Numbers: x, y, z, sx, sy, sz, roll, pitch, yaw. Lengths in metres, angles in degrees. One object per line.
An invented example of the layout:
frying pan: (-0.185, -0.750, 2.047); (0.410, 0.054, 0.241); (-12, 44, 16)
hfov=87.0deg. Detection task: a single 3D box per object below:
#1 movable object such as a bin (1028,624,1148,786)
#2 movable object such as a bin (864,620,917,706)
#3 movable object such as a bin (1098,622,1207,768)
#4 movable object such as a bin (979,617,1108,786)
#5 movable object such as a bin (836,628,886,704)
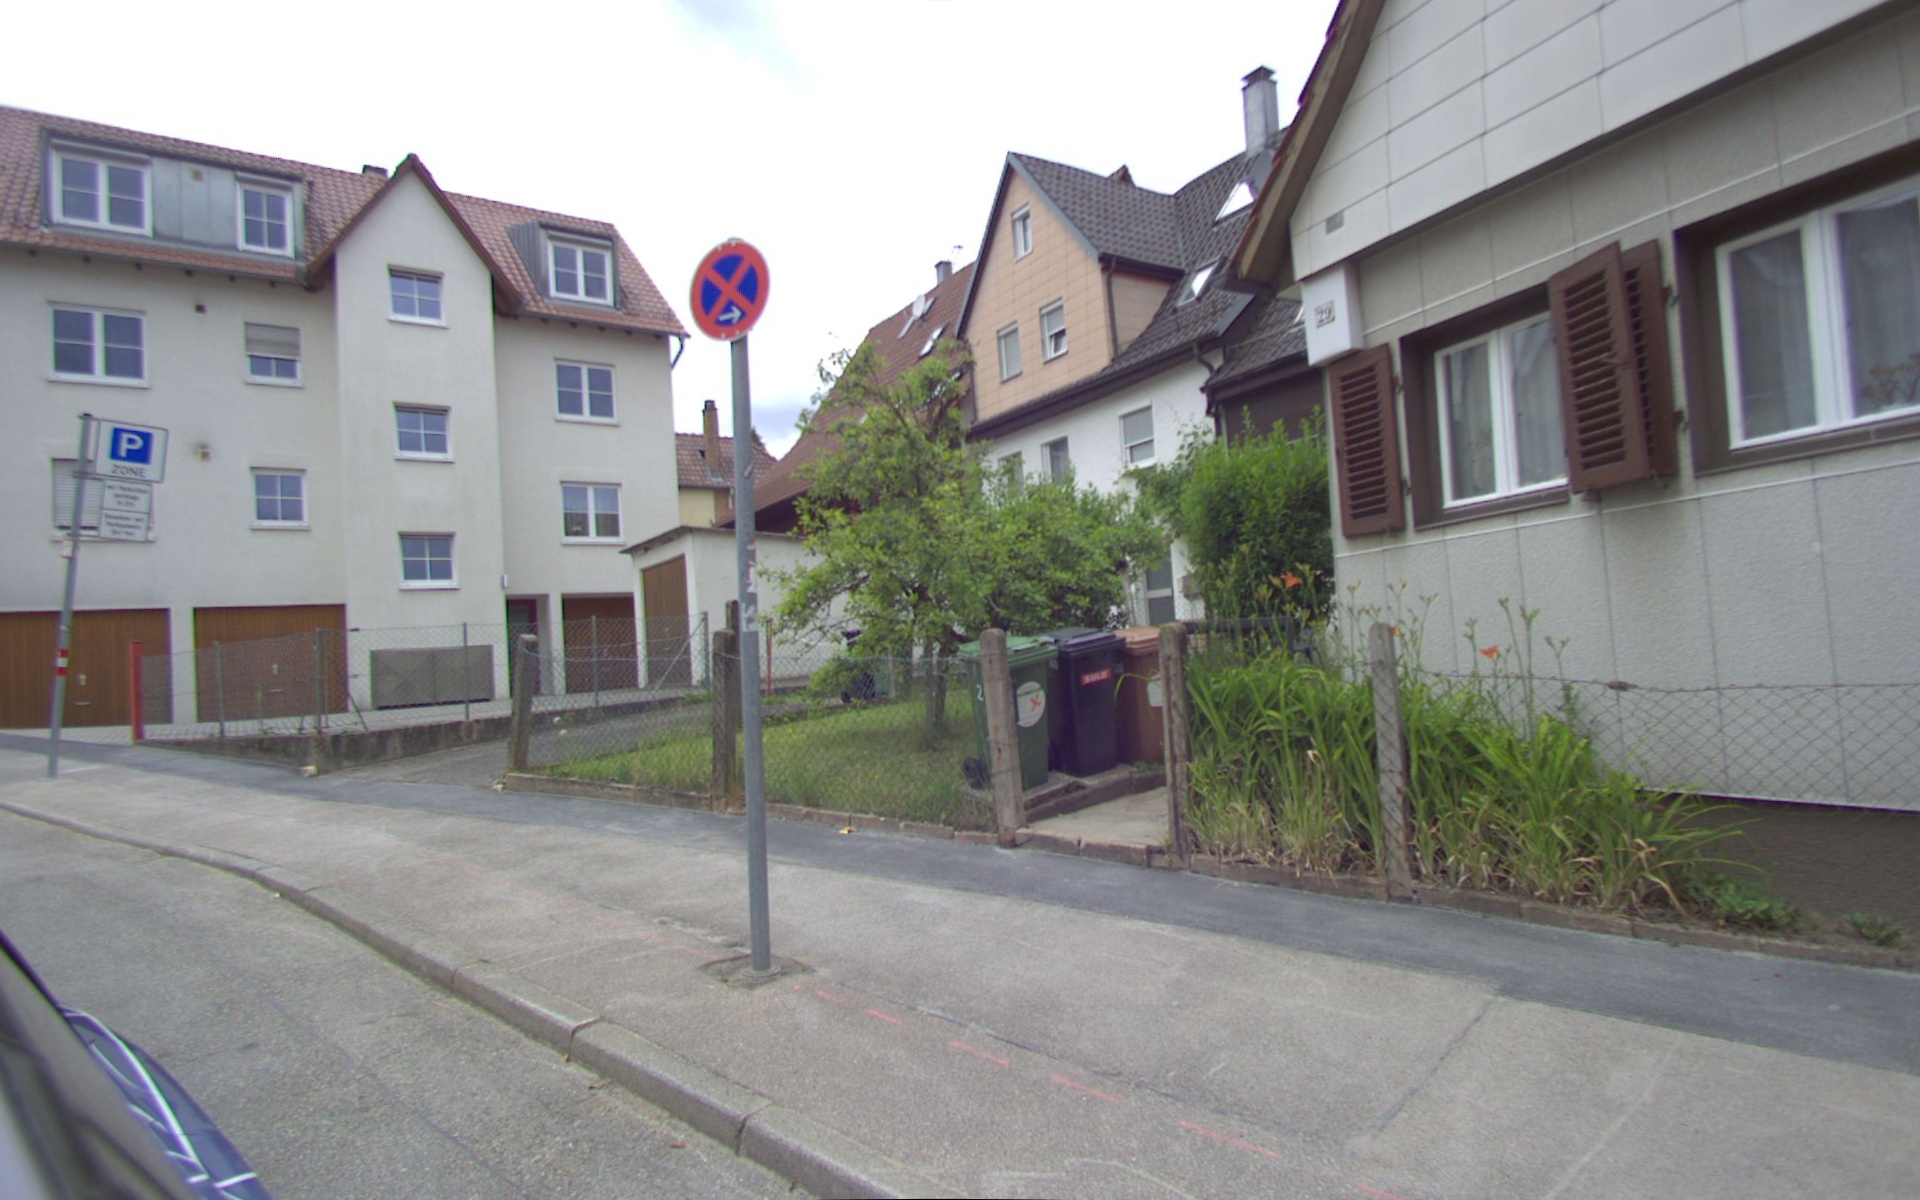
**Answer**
movable object such as a bin: (0.810, 0.644, 6.448); (0.519, 0.924, 0.492); (-5, 2, -29)
movable object such as a bin: (-0.826, 0.732, 11.967); (0.394, 0.989, 0.509); (1, -3, -42)
movable object such as a bin: (1.281, 0.613, 6.751); (0.487, 0.884, 0.454); (-5, 2, -29)
movable object such as a bin: (0.489, 0.571, 5.963); (0.519, 0.890, 0.492); (-5, 2, -29)
movable object such as a bin: (-1.210, 0.801, 12.386); (0.371, 0.900, 0.490); (0, -3, -42)
